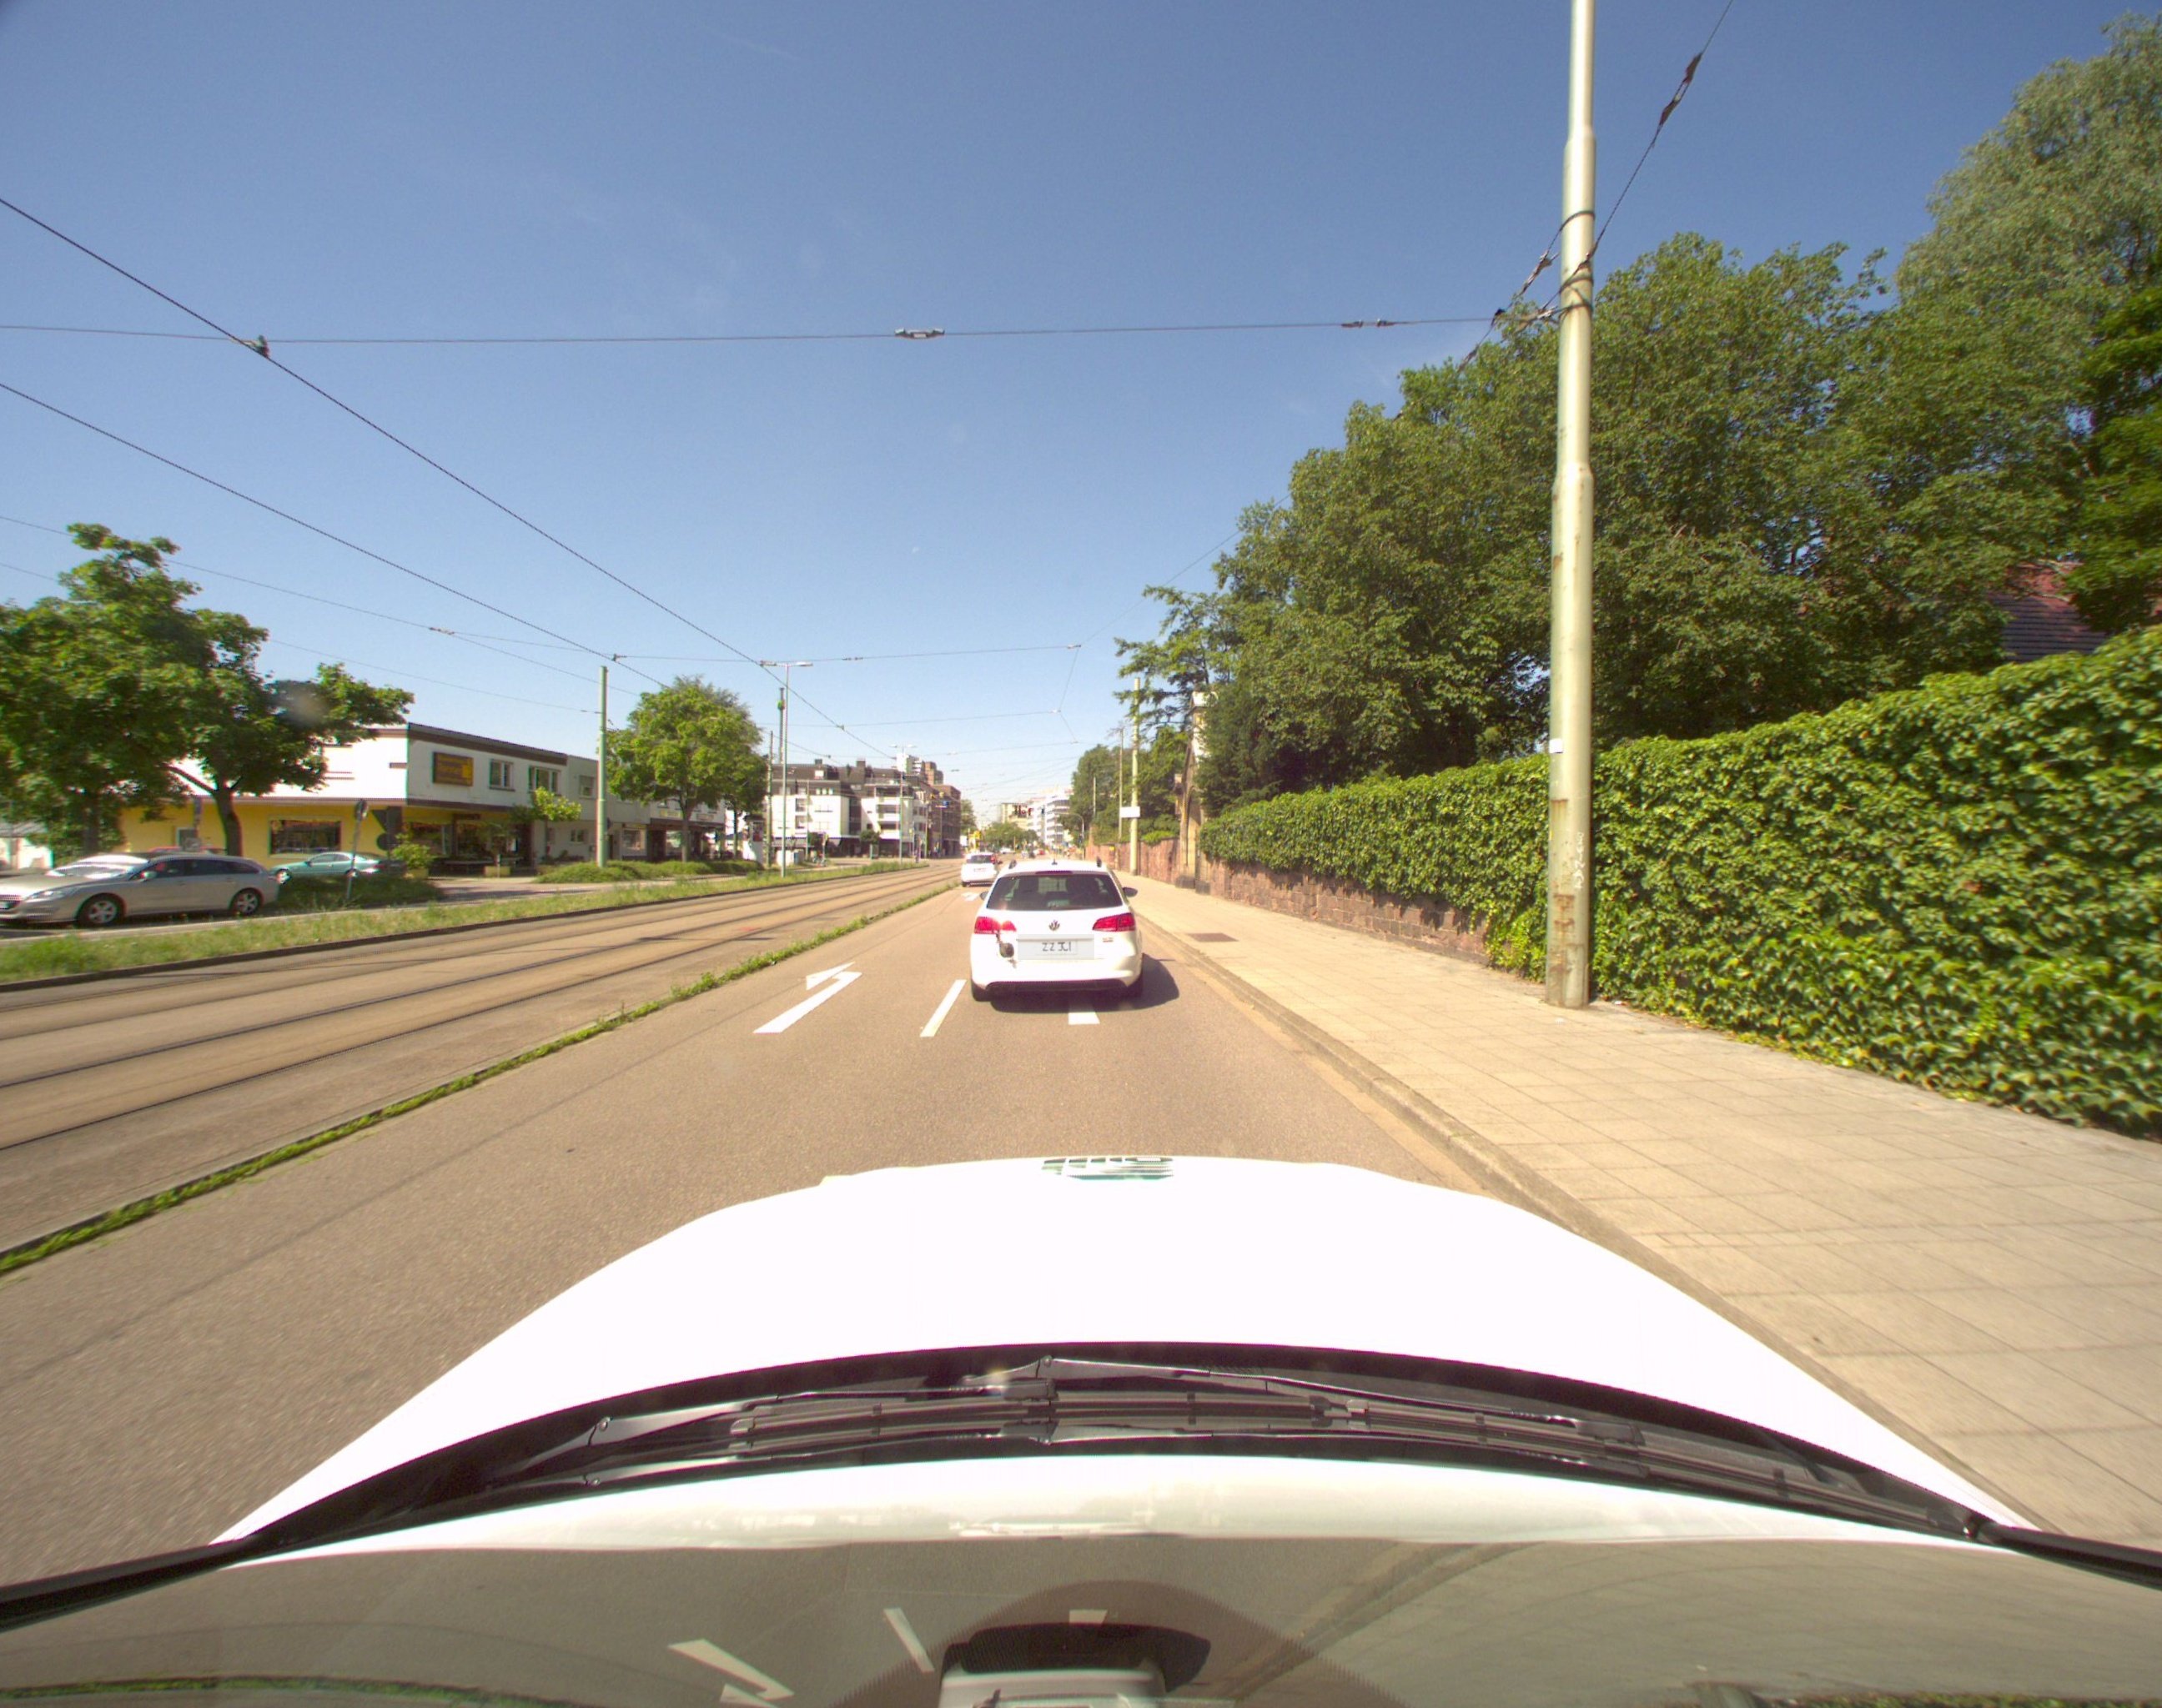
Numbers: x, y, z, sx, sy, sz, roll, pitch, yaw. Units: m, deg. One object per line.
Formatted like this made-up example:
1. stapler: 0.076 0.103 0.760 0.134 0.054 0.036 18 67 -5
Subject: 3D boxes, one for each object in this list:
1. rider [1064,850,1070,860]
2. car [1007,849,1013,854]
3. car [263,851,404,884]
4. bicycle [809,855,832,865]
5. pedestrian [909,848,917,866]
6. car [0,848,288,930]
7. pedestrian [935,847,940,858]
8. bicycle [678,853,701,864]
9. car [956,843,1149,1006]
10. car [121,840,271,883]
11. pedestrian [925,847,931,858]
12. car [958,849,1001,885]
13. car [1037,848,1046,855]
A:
1. rider: -2.348 0.186 134.253 0.889 1.728 2.202 0 0 -2
2. car: -20.494 -0.721 234.665 1.695 1.591 3.530 0 0 -4
3. car: -30.769 0.546 33.627 4.137 1.344 1.696 0 0 -3
4. bicycle: -25.990 0.575 81.253 0.546 0.921 2.191 0 0 40
5. pedestrian: -17.290 0.304 83.818 0.826 1.738 0.929 0 0 -11
6. car: -20.340 0.646 17.755 1.599 1.490 4.615 2 0 -1
7. pedestrian: -26.616 -0.261 150.914 0.936 2.013 0.988 0 0 -9
8. bicycle: -30.647 0.335 63.802 0.781 0.888 2.389 0 0 -2
9. car: -0.207 0.638 9.395 1.772 1.490 3.848 0 0 1
10. car: -36.254 0.295 33.431 4.137 1.735 1.696 0 0 -3
11. pedestrian: -27.308 -0.233 145.623 0.935 2.013 0.988 0 0 -6
12. car: -4.698 0.576 38.159 1.727 1.596 4.006 0 0 -4
13. car: -11.655 -0.693 240.053 1.994 1.903 3.986 0 0 -10
